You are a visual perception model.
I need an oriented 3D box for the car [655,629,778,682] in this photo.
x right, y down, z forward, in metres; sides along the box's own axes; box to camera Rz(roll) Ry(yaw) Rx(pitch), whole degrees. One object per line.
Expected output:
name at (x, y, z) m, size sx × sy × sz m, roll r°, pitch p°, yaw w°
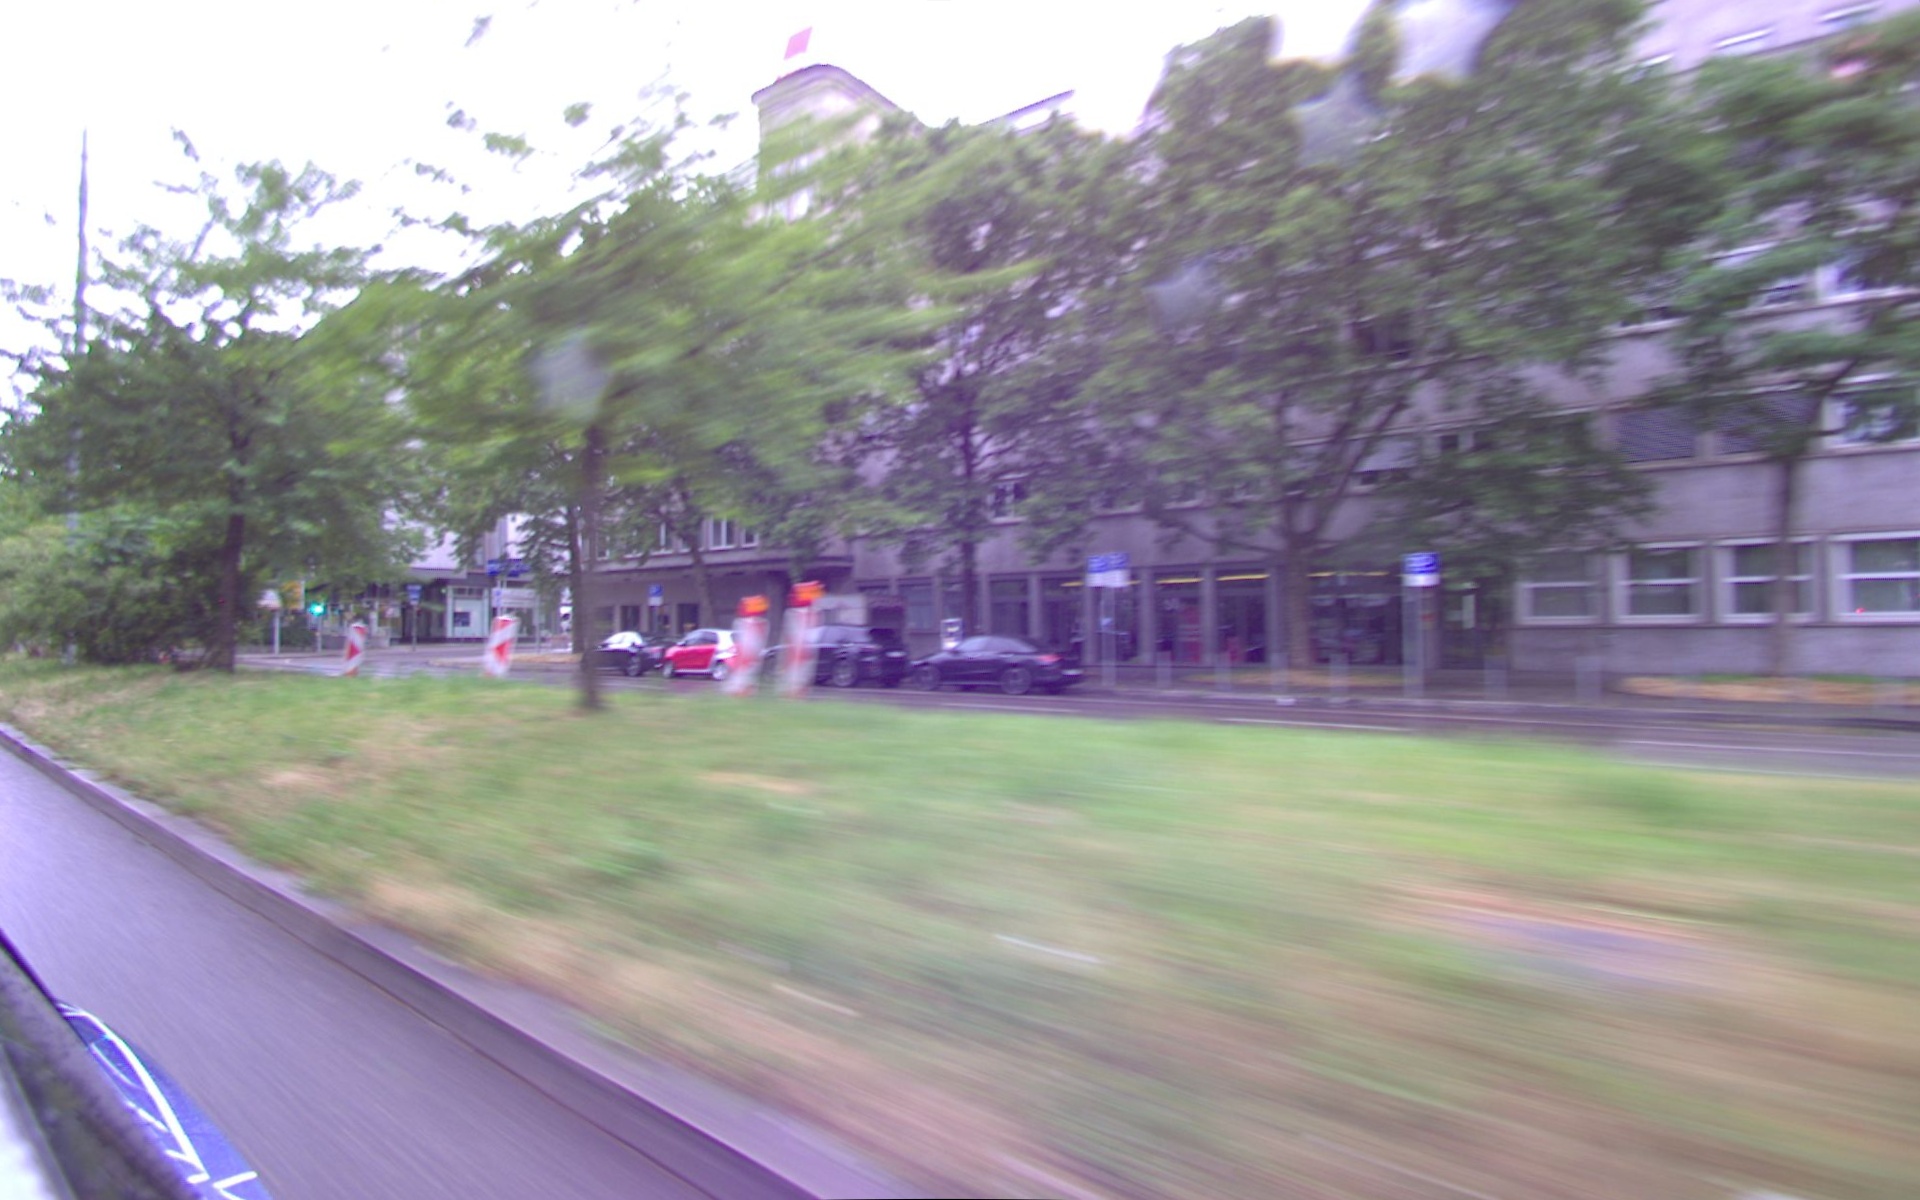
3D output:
car at (-7.355, 1.634, 30.436) m, size 3.688 × 1.514 × 1.669 m, roll -1°, pitch -3°, yaw 38°

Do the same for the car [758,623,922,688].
car at (-3.330, 1.467, 27.588) m, size 4.462 × 1.634 × 1.843 m, roll -1°, pitch -3°, yaw 38°

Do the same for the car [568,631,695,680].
car at (-10.886, 1.786, 33.420) m, size 4.569 × 1.498 × 1.768 m, roll -1°, pitch -3°, yaw 38°

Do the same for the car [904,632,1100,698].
car at (0.955, 1.520, 24.618) m, size 4.560 × 1.440 × 1.843 m, roll -1°, pitch -3°, yaw 38°
